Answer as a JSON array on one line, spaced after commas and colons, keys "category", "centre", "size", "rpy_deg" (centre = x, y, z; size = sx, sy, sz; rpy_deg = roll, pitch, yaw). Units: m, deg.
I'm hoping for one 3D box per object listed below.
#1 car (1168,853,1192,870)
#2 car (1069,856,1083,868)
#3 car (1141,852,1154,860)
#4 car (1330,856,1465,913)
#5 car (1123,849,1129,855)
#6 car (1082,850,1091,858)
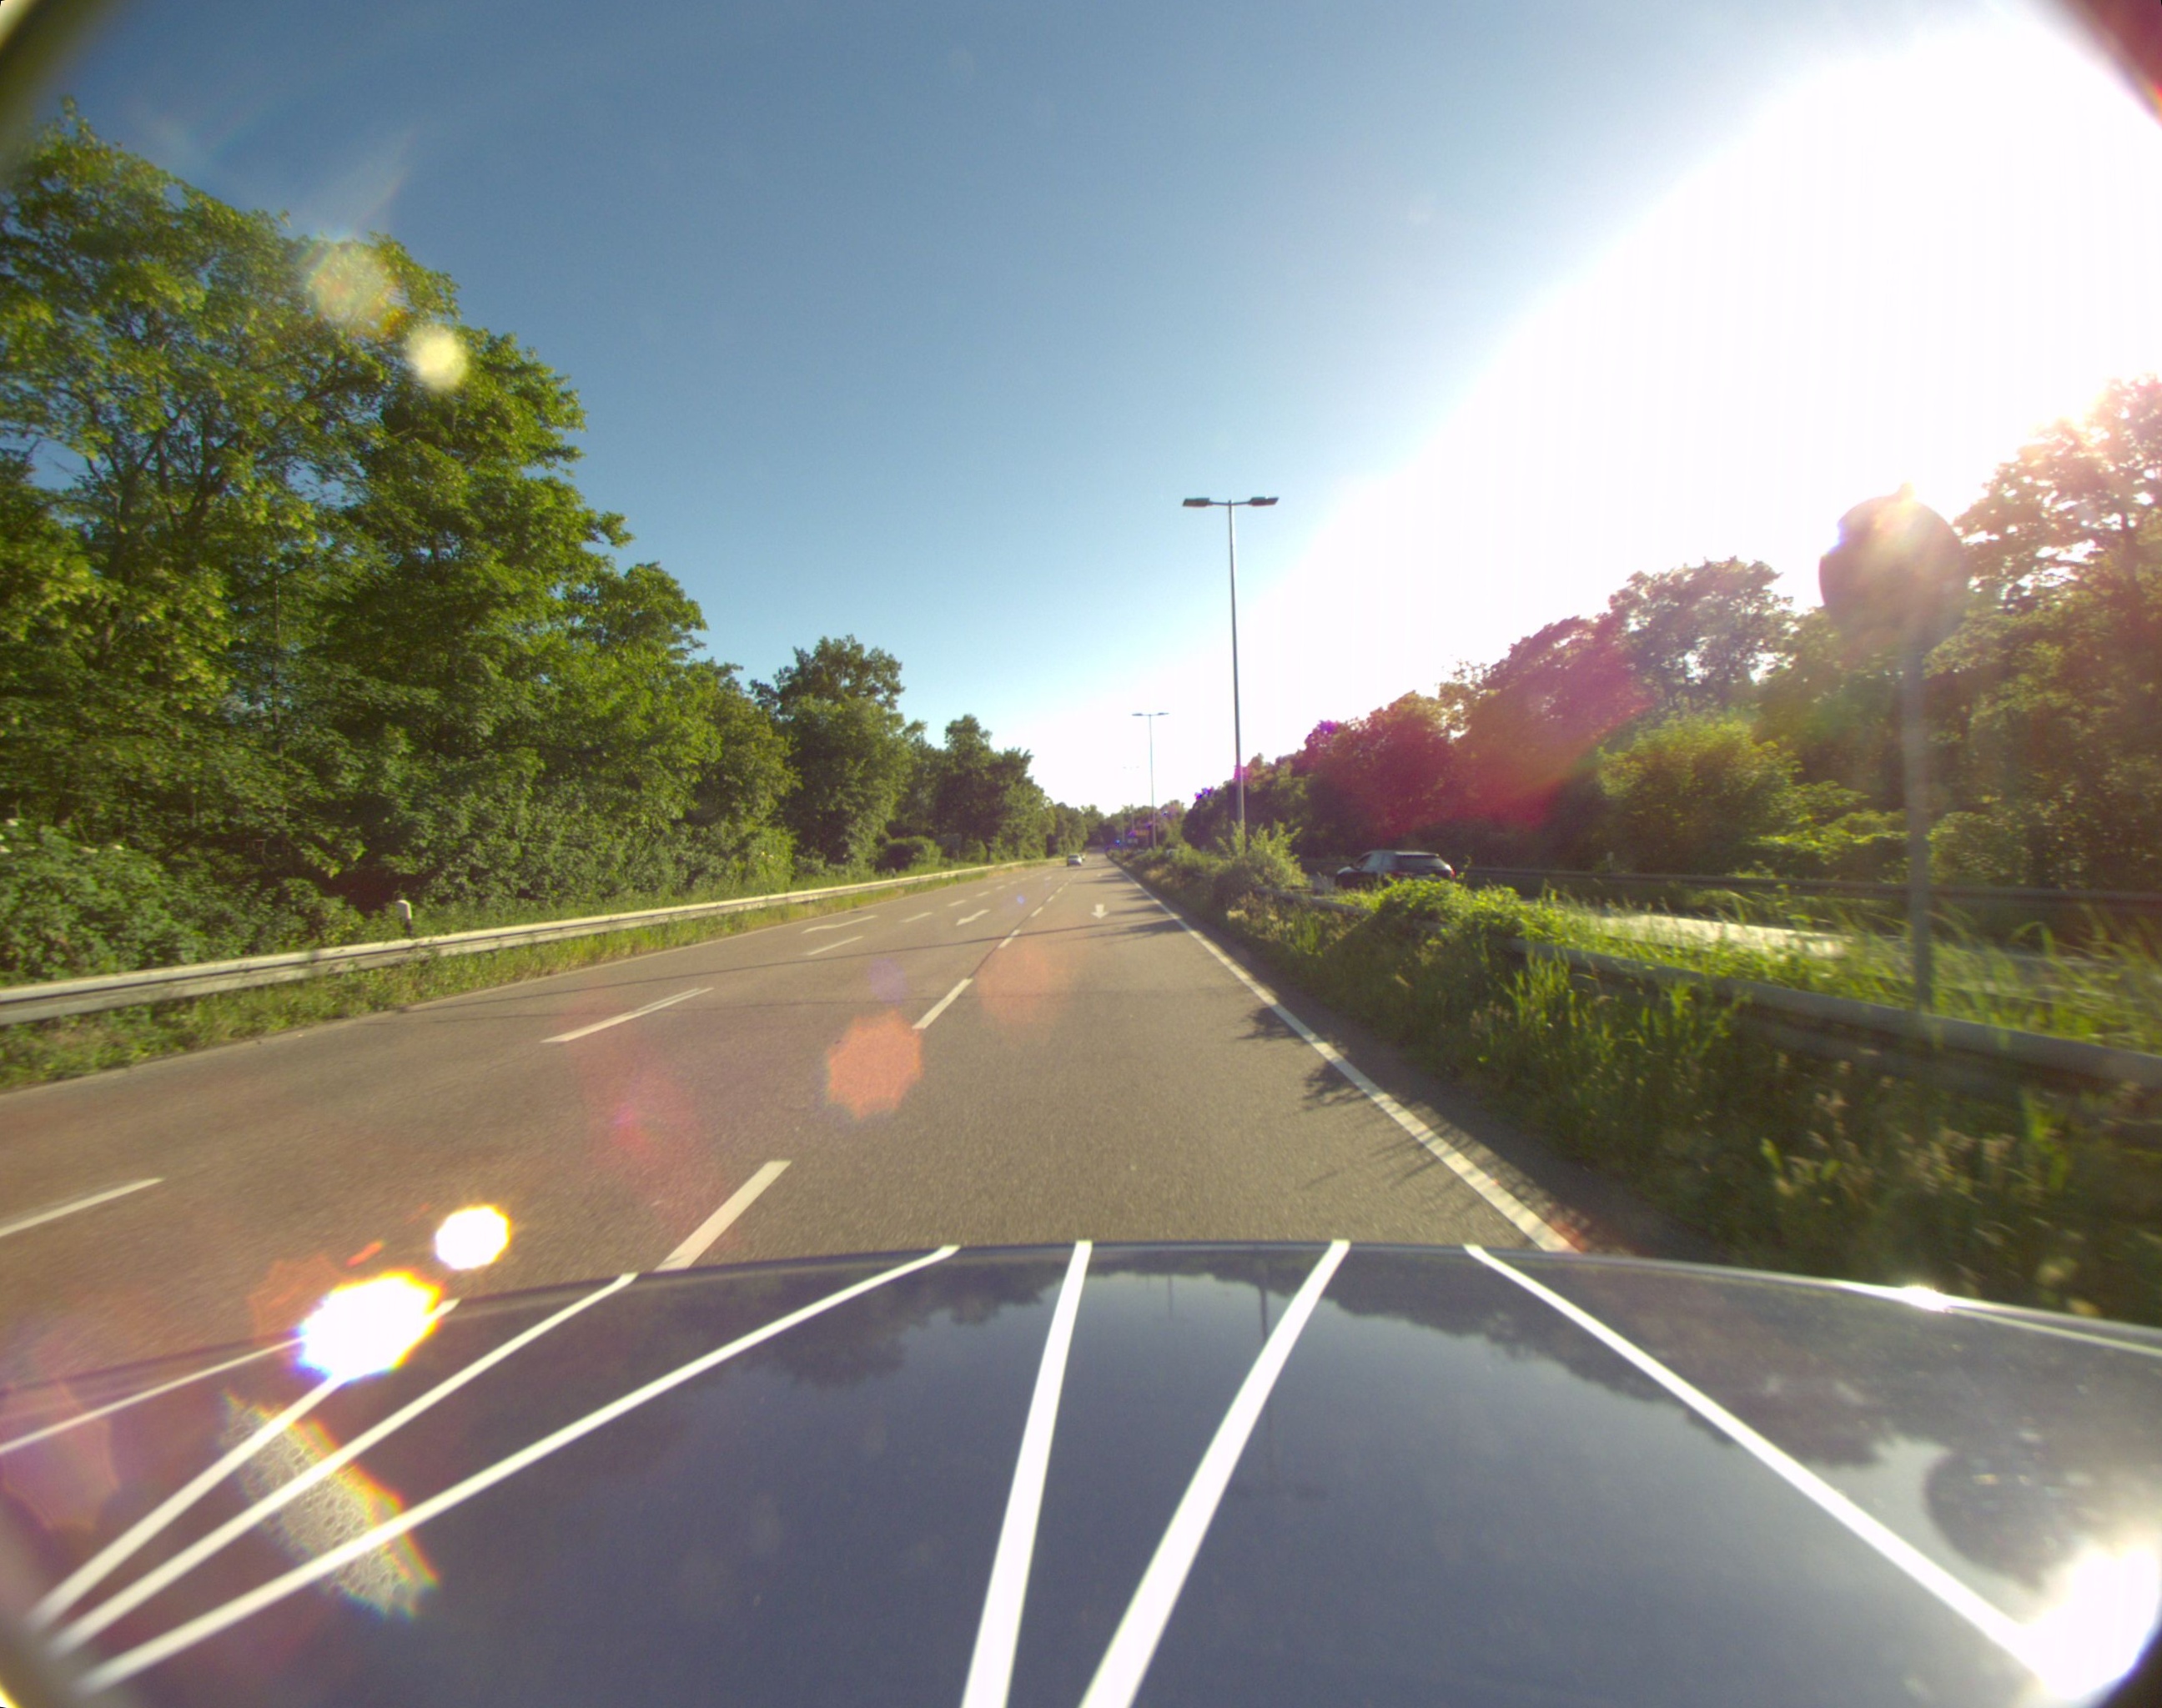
[{"category": "car", "centre": [9.751, 0.707, 75.223], "size": [1.774, 1.560, 4.218], "rpy_deg": [-1, 0, 0]}, {"category": "car", "centre": [-0.626, 0.971, 94.185], "size": [1.681, 1.477, 3.390], "rpy_deg": [-1, -1, 0]}, {"category": "car", "centre": [11.125, 0.368, 127.790], "size": [1.777, 1.349, 4.462], "rpy_deg": [-2, 0, 1]}, {"category": "car", "centre": [8.580, 0.761, 21.097], "size": [1.810, 1.408, 4.531], "rpy_deg": [0, 0, -1]}, {"category": "car", "centre": [13.515, -0.597, 228.755], "size": [1.846, 1.747, 4.712], "rpy_deg": [-1, 0, 1]}, {"category": "car", "centre": [1.080, 0.056, 151.799], "size": [1.910, 1.477, 3.345], "rpy_deg": [-1, -1, 0]}]
